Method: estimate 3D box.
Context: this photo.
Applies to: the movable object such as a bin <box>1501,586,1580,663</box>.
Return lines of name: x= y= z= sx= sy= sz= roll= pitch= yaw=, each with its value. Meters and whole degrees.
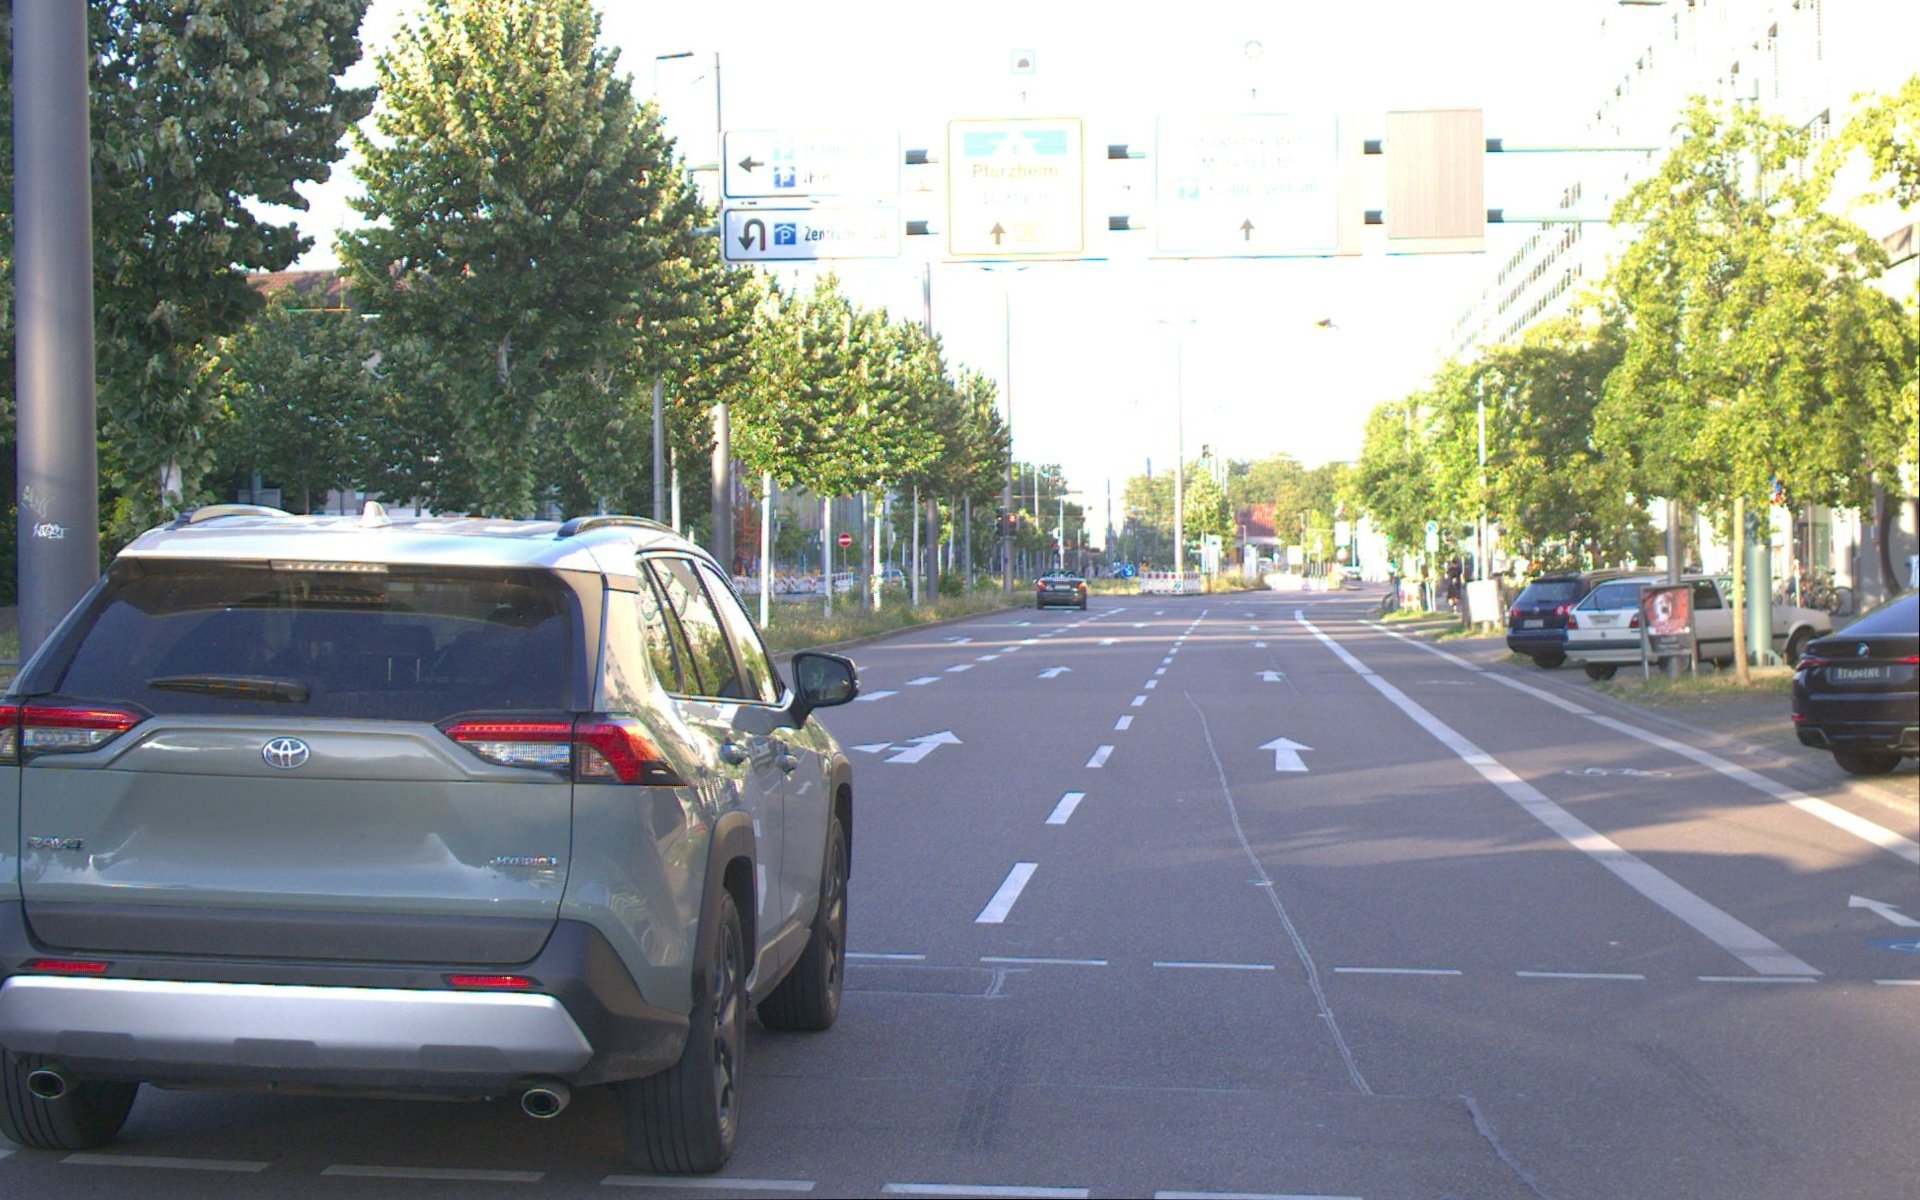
movable object such as a bin: x=10.021 y=0.408 z=59.405 sx=1.084 sy=1.297 sz=1.361 roll=-1 pitch=1 yaw=-2

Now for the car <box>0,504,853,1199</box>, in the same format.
car: x=-1.425 y=0.593 z=9.856 sx=1.834 sy=1.667 sz=4.282 roll=1 pitch=1 yaw=3

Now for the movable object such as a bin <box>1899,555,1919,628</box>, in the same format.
movable object such as a bin: x=18.177 y=-0.178 z=63.890 sx=1.105 sy=1.325 sz=1.283 roll=-2 pitch=1 yaw=4

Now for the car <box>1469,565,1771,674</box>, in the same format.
car: x=10.460 y=0.300 z=54.368 sx=4.655 sy=1.503 sz=1.939 roll=-3 pitch=0 yaw=-35

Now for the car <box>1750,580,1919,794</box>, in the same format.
car: x=8.204 y=0.551 z=25.868 sx=4.593 sy=1.448 sz=1.813 roll=-3 pitch=1 yaw=-36

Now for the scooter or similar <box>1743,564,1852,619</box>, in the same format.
scooter or similar: x=19.441 y=-0.200 z=79.826 sx=2.372 sy=1.179 sz=0.620 roll=-2 pitch=1 yaw=4

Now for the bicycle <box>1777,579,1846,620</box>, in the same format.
bicycle: x=18.951 y=-0.002 z=76.498 sx=1.421 sy=0.888 sz=0.457 roll=-1 pitch=1 yaw=4

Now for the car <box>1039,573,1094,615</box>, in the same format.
car: x=3.604 y=-0.214 z=115.877 sx=1.674 sy=1.347 sz=3.999 roll=1 pitch=1 yaw=4

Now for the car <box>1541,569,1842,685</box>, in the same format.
car: x=10.190 y=0.371 z=47.783 sx=3.978 sy=1.412 sz=1.751 roll=-3 pitch=0 yaw=-33

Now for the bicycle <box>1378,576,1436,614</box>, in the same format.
bicycle: x=14.988 y=-0.156 z=115.299 sx=1.793 sy=1.189 sz=0.568 roll=-2 pitch=0 yaw=0

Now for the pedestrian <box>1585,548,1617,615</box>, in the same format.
pedestrian: x=18.148 y=-0.521 z=97.321 sx=0.744 sy=1.843 sz=0.940 roll=-3 pitch=0 yaw=14

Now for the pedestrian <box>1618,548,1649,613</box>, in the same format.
pedestrian: x=19.190 y=-0.554 z=97.935 sx=0.757 sy=1.818 sz=0.940 roll=-2 pitch=0 yaw=14

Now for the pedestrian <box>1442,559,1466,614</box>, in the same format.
pedestrian: x=15.563 y=-0.422 z=108.363 sx=0.653 sy=1.696 sz=0.689 roll=-2 pitch=0 yaw=4
